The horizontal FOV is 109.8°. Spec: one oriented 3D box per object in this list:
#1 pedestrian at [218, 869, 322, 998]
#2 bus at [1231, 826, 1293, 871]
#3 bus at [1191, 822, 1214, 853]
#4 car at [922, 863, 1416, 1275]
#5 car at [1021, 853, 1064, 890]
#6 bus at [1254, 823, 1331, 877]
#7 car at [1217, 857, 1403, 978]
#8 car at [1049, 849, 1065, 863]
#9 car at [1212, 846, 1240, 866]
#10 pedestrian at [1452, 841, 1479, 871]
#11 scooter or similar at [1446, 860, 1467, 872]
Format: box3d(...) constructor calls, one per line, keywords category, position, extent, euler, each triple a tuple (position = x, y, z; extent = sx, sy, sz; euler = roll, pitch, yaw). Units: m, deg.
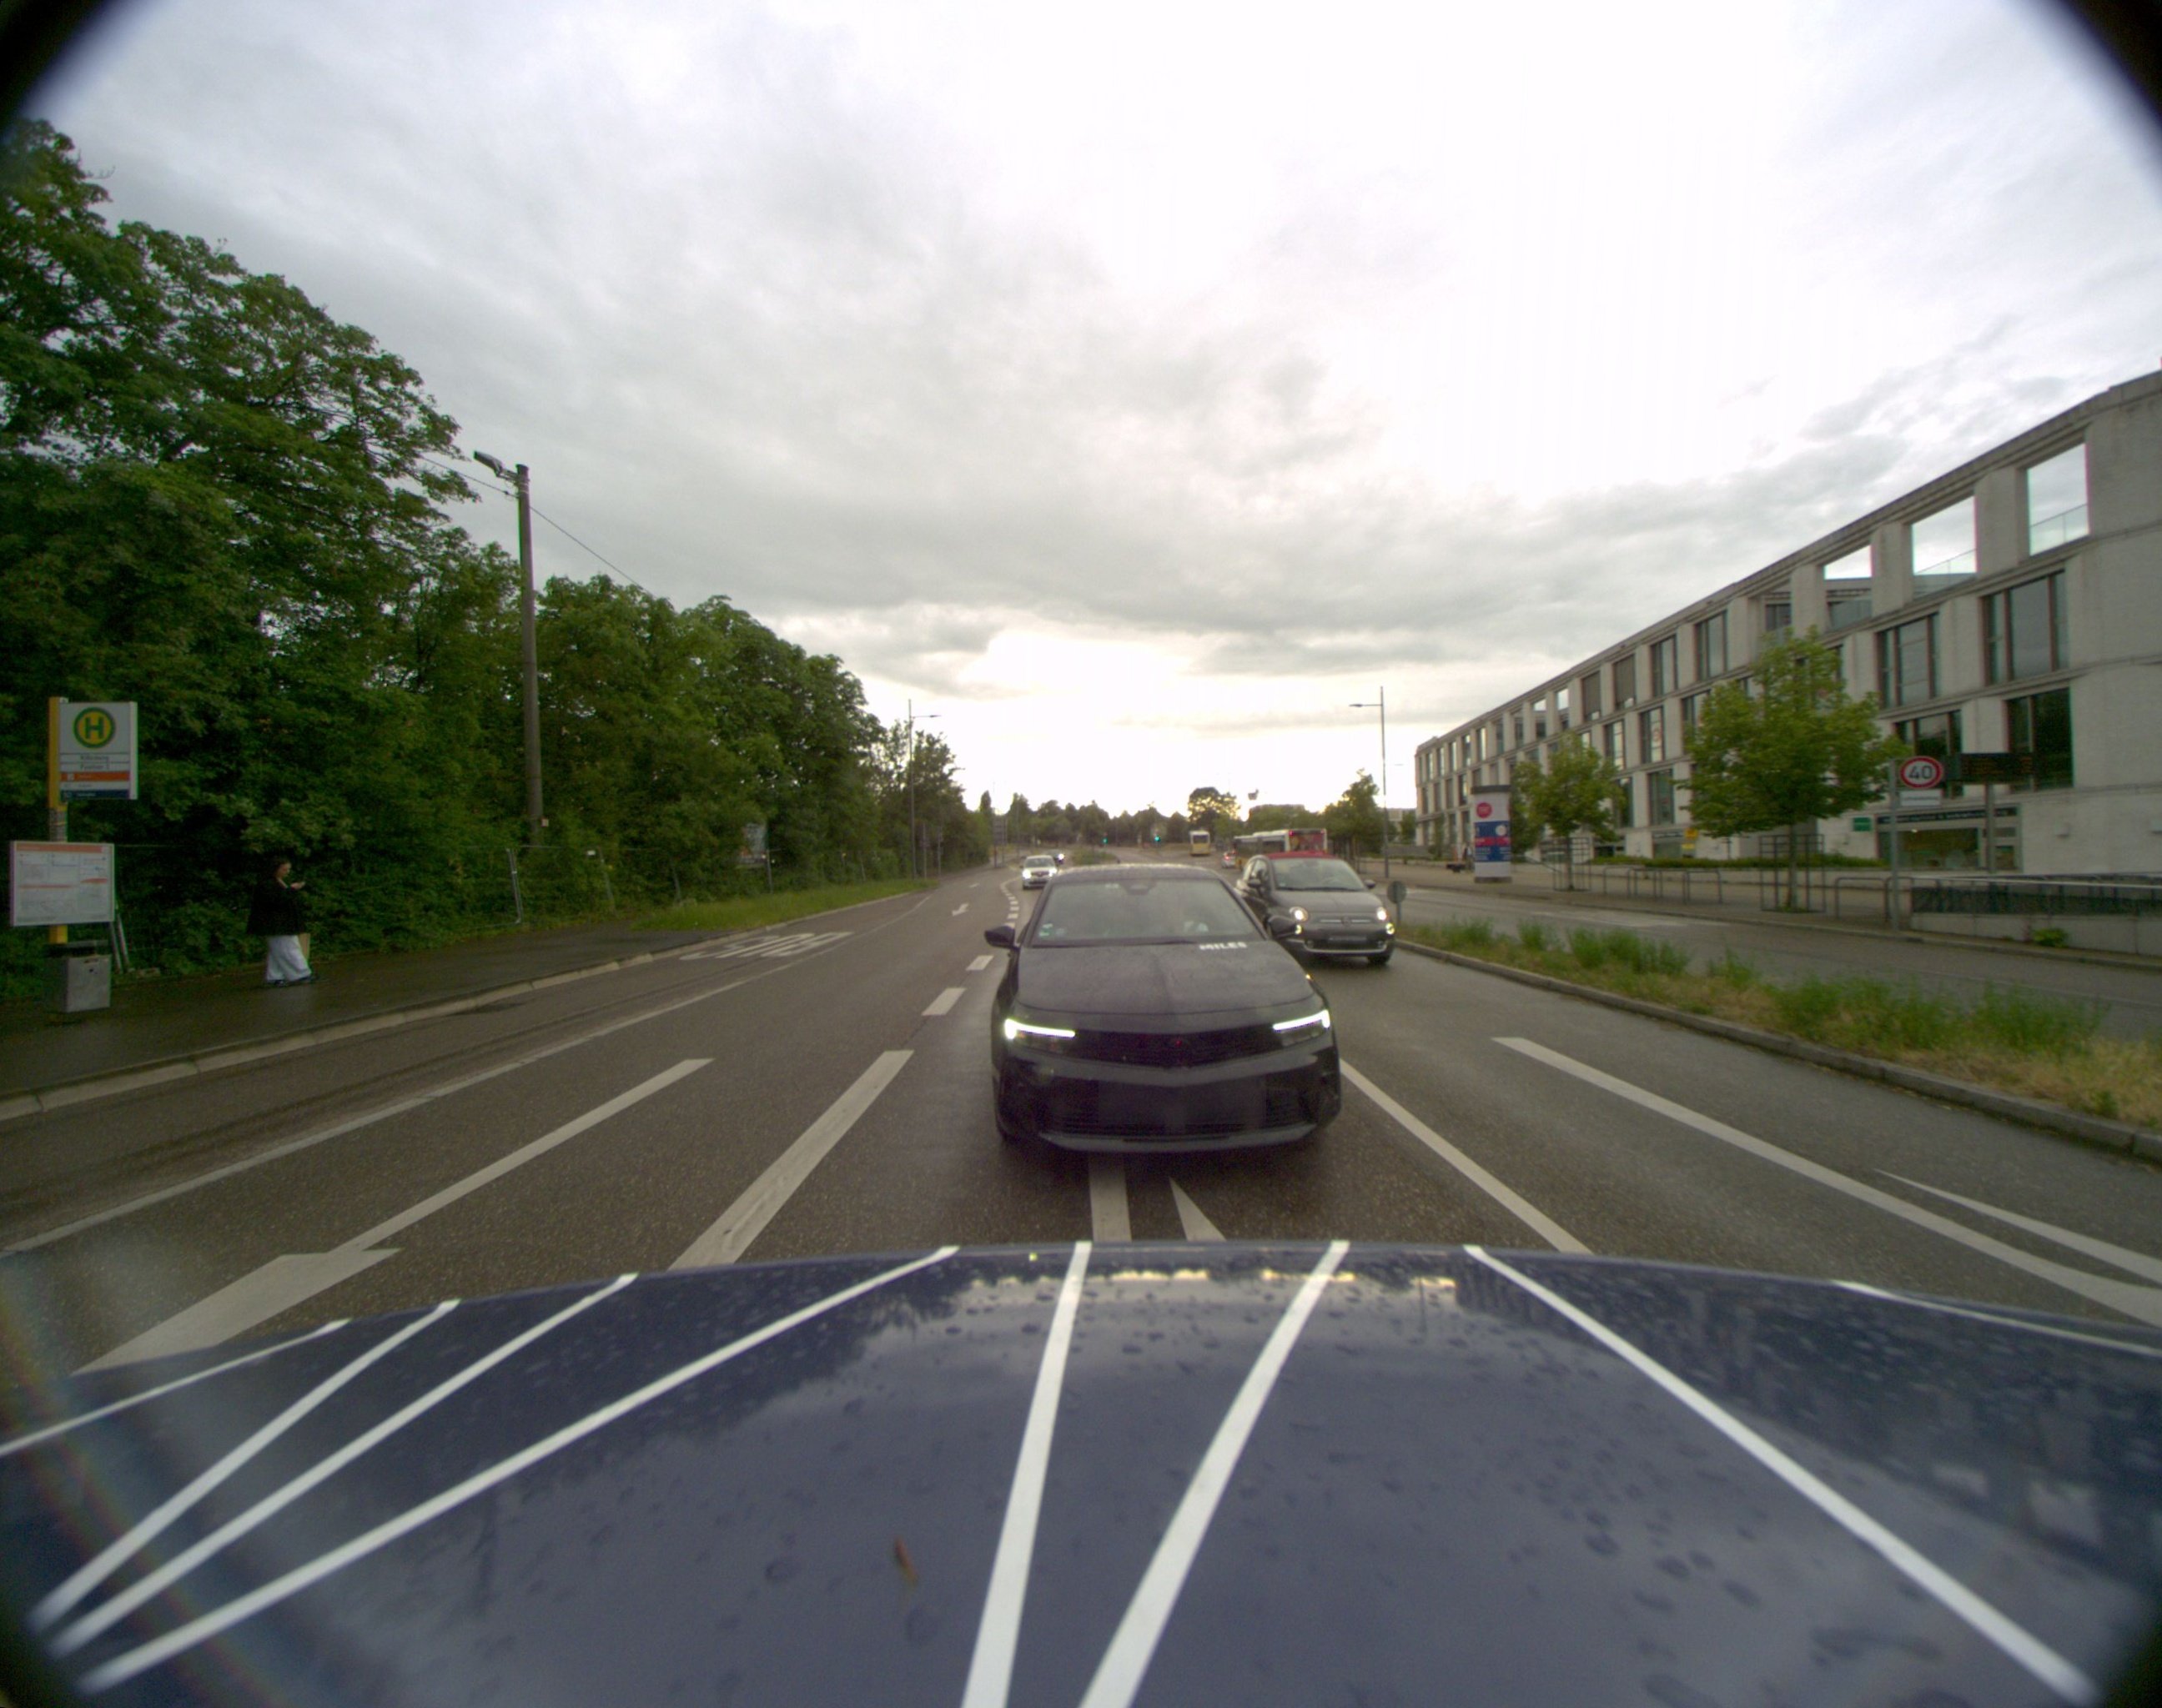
box3d(category="pedestrian", position=(-10.618, 1.016, 9.969), extent=(0.588, 1.618, 0.661), euler=(-1, 1, 1))
box3d(category="bus", position=(14.116, -0.447, 60.034), extent=(2.693, 3.163, 9.912), euler=(-2, 1, 2))
box3d(category="bus", position=(18.396, -2.417, 114.007), extent=(2.757, 4.129, 19.359), euler=(-2, 1, 11))
box3d(category="car", position=(0.382, 0.888, 5.387), extent=(1.901, 1.456, 4.767), euler=(-2, 1, 1))
box3d(category="car", position=(-1.897, 0.787, 36.662), extent=(1.902, 1.524, 4.765), euler=(-2, 1, -4))
box3d(category="bus", position=(13.825, -0.309, 50.529), extent=(2.759, 3.194, 9.207), euler=(-2, 1, 2))
box3d(category="car", position=(3.238, 0.814, 11.447), extent=(1.631, 1.473, 3.505), euler=(-1, 1, -2))
box3d(category="car", position=(-2.953, 0.222, 92.935), extent=(1.934, 1.649, 4.617), euler=(-1, 0, -2))
box3d(category="car", position=(13.583, 0.164, 71.554), extent=(1.867, 1.777, 3.999), euler=(-2, 1, 1))
box3d(category="pedestrian", position=(21.052, 0.106, 41.631), extent=(0.867, 1.572, 0.983), euler=(-2, 1, -10))
box3d(category="scooter or similar", position=(20.683, 0.644, 41.811), extent=(0.642, 0.648, 0.832), euler=(-1, 1, -15))
